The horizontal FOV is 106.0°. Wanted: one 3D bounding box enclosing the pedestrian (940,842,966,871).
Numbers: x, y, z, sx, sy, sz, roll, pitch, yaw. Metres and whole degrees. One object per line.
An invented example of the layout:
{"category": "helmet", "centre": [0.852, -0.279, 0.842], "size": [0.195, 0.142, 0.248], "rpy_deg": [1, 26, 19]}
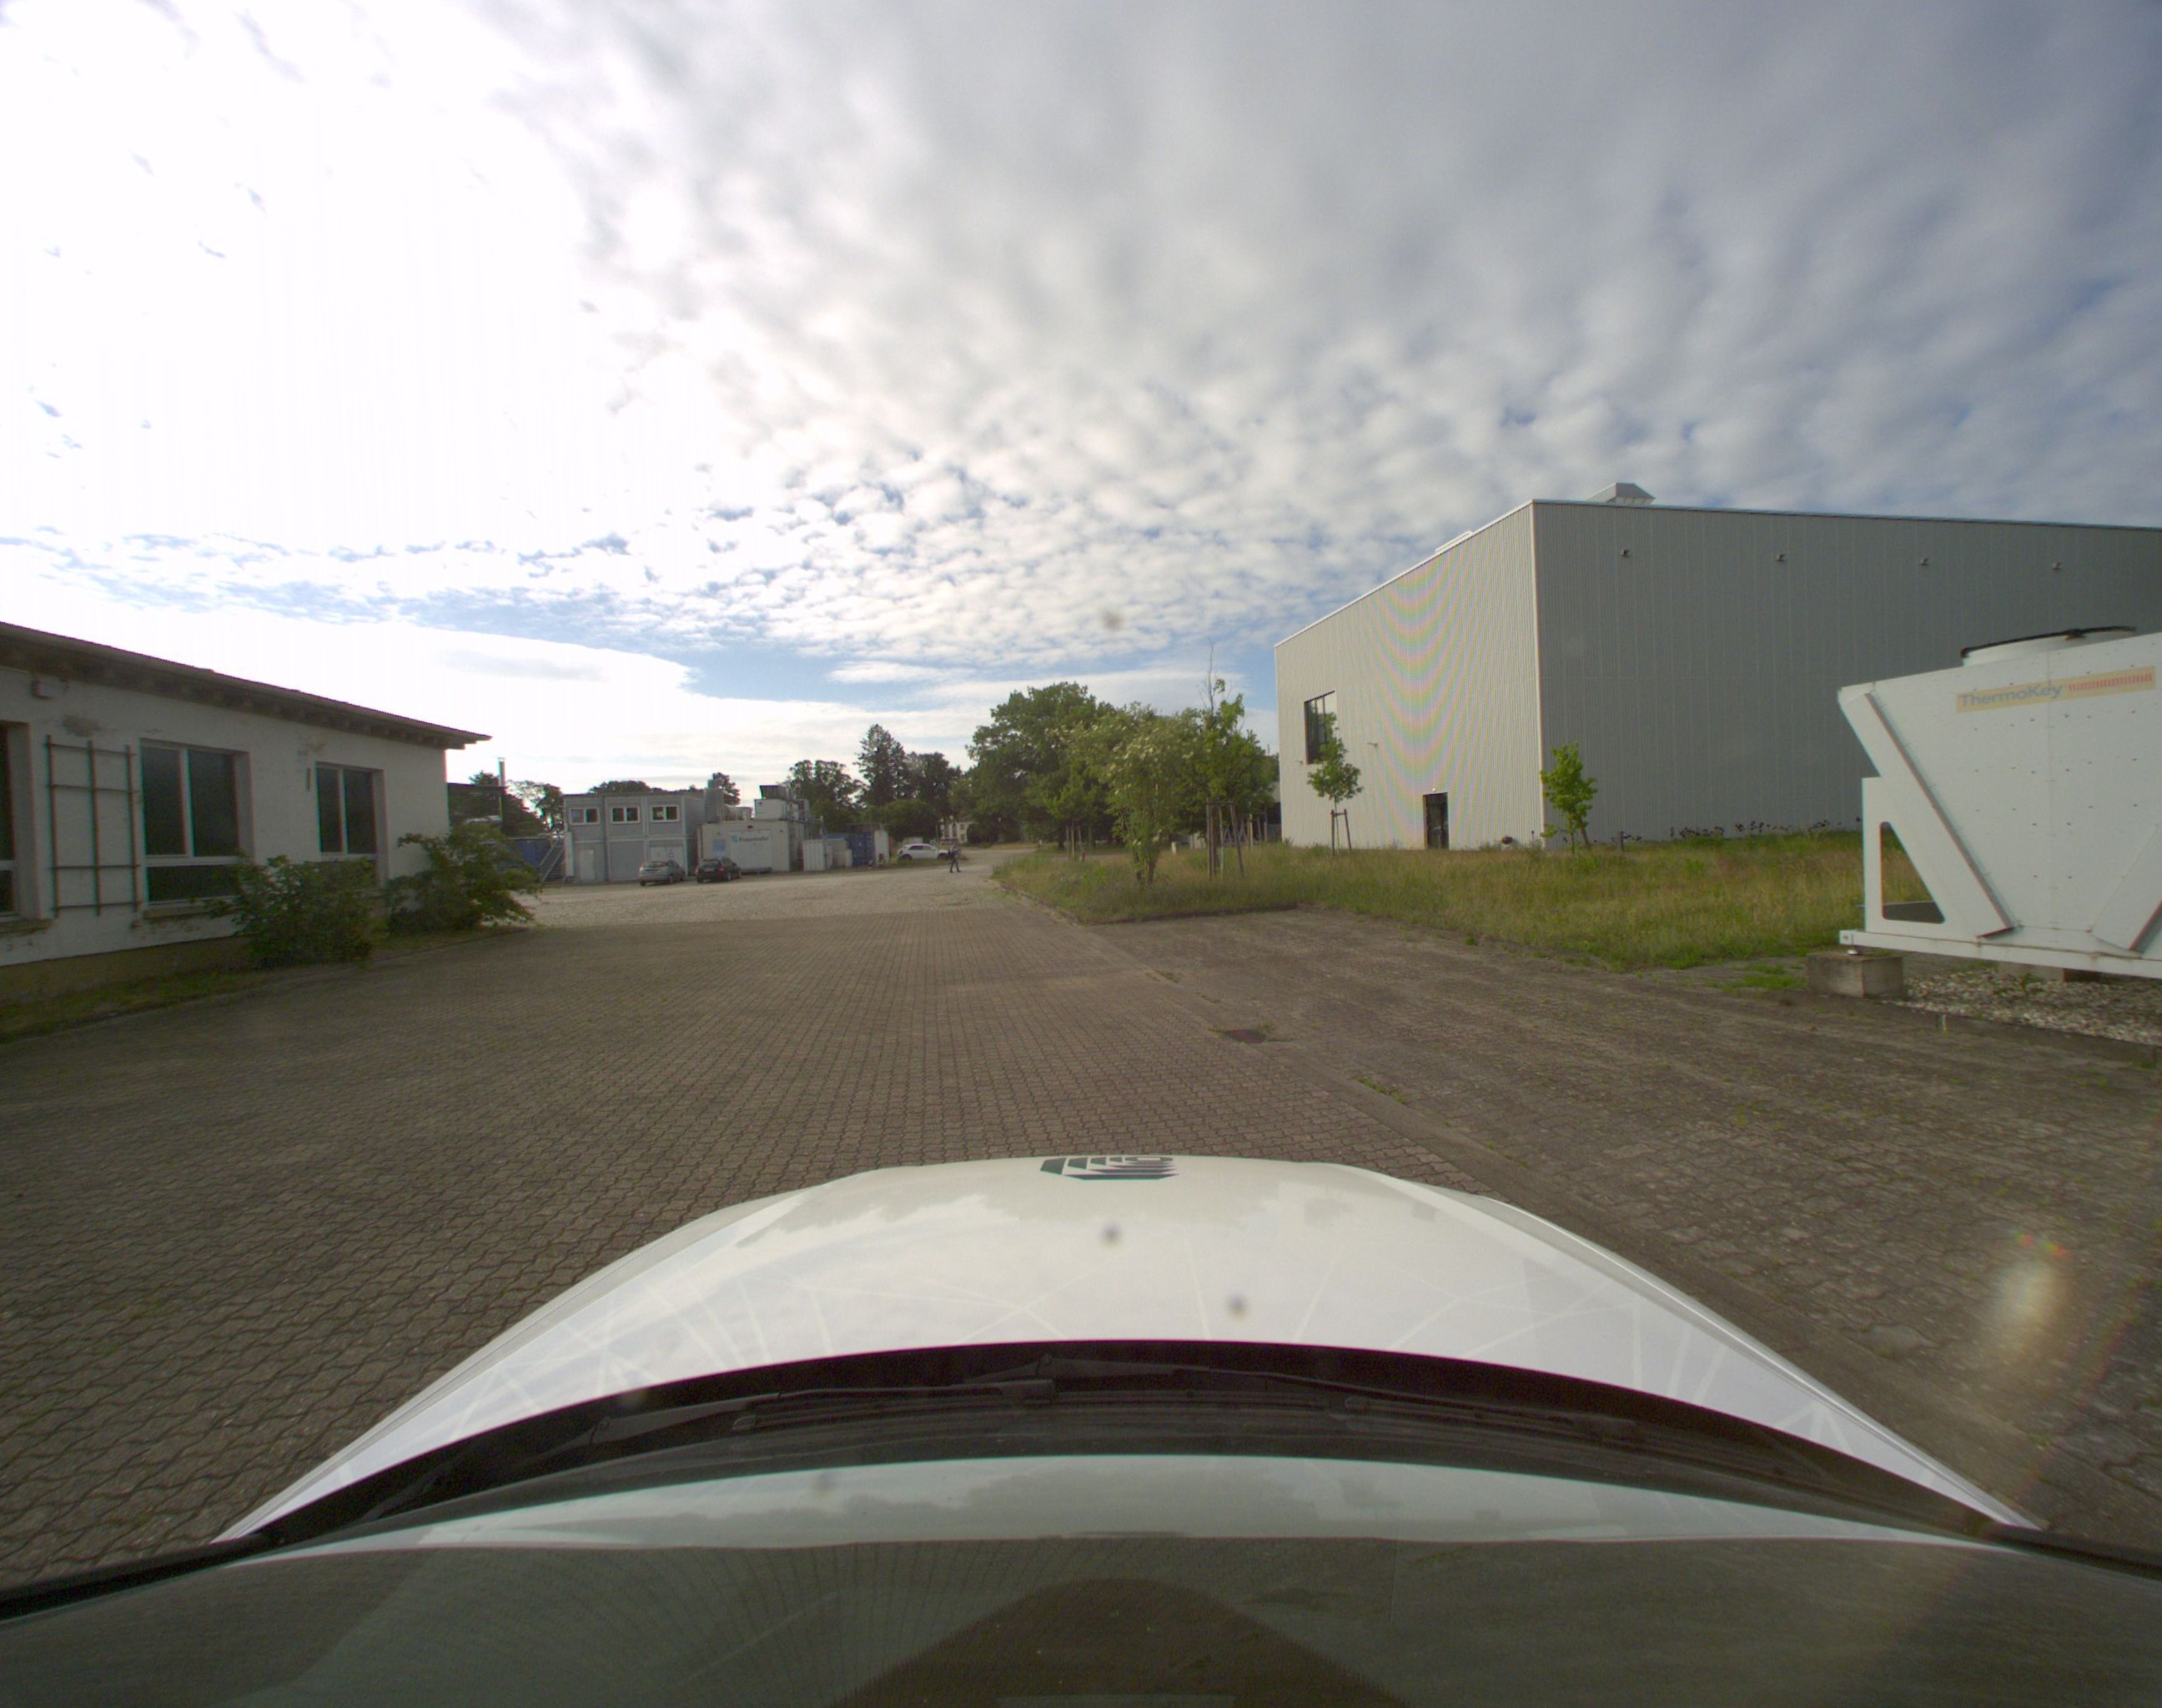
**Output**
{"category": "pedestrian", "centre": [-7.214, 0.160, 45.984], "size": [1.068, 1.556, 1.079], "rpy_deg": [-3, 1, 13]}

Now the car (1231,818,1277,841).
{"category": "car", "centre": [16.288, -2.284, 77.112], "size": [2.243, 2.013, 5.316], "rpy_deg": [-3, 1, -12]}

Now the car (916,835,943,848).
{"category": "car", "centre": [-31.236, -2.515, 168.076], "size": [5.173, 2.337, 1.993], "rpy_deg": [-3, 1, -11]}

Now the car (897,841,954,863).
{"category": "car", "centre": [-13.061, -0.203, 68.505], "size": [4.532, 1.599, 1.994], "rpy_deg": [-3, 1, -9]}

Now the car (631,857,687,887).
{"category": "car", "centre": [-25.261, 1.052, 48.874], "size": [1.908, 1.475, 4.030], "rpy_deg": [-3, 3, -12]}

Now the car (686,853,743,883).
{"category": "car", "centre": [-22.072, 0.782, 49.249], "size": [2.037, 1.453, 4.514], "rpy_deg": [-3, 3, -10]}
